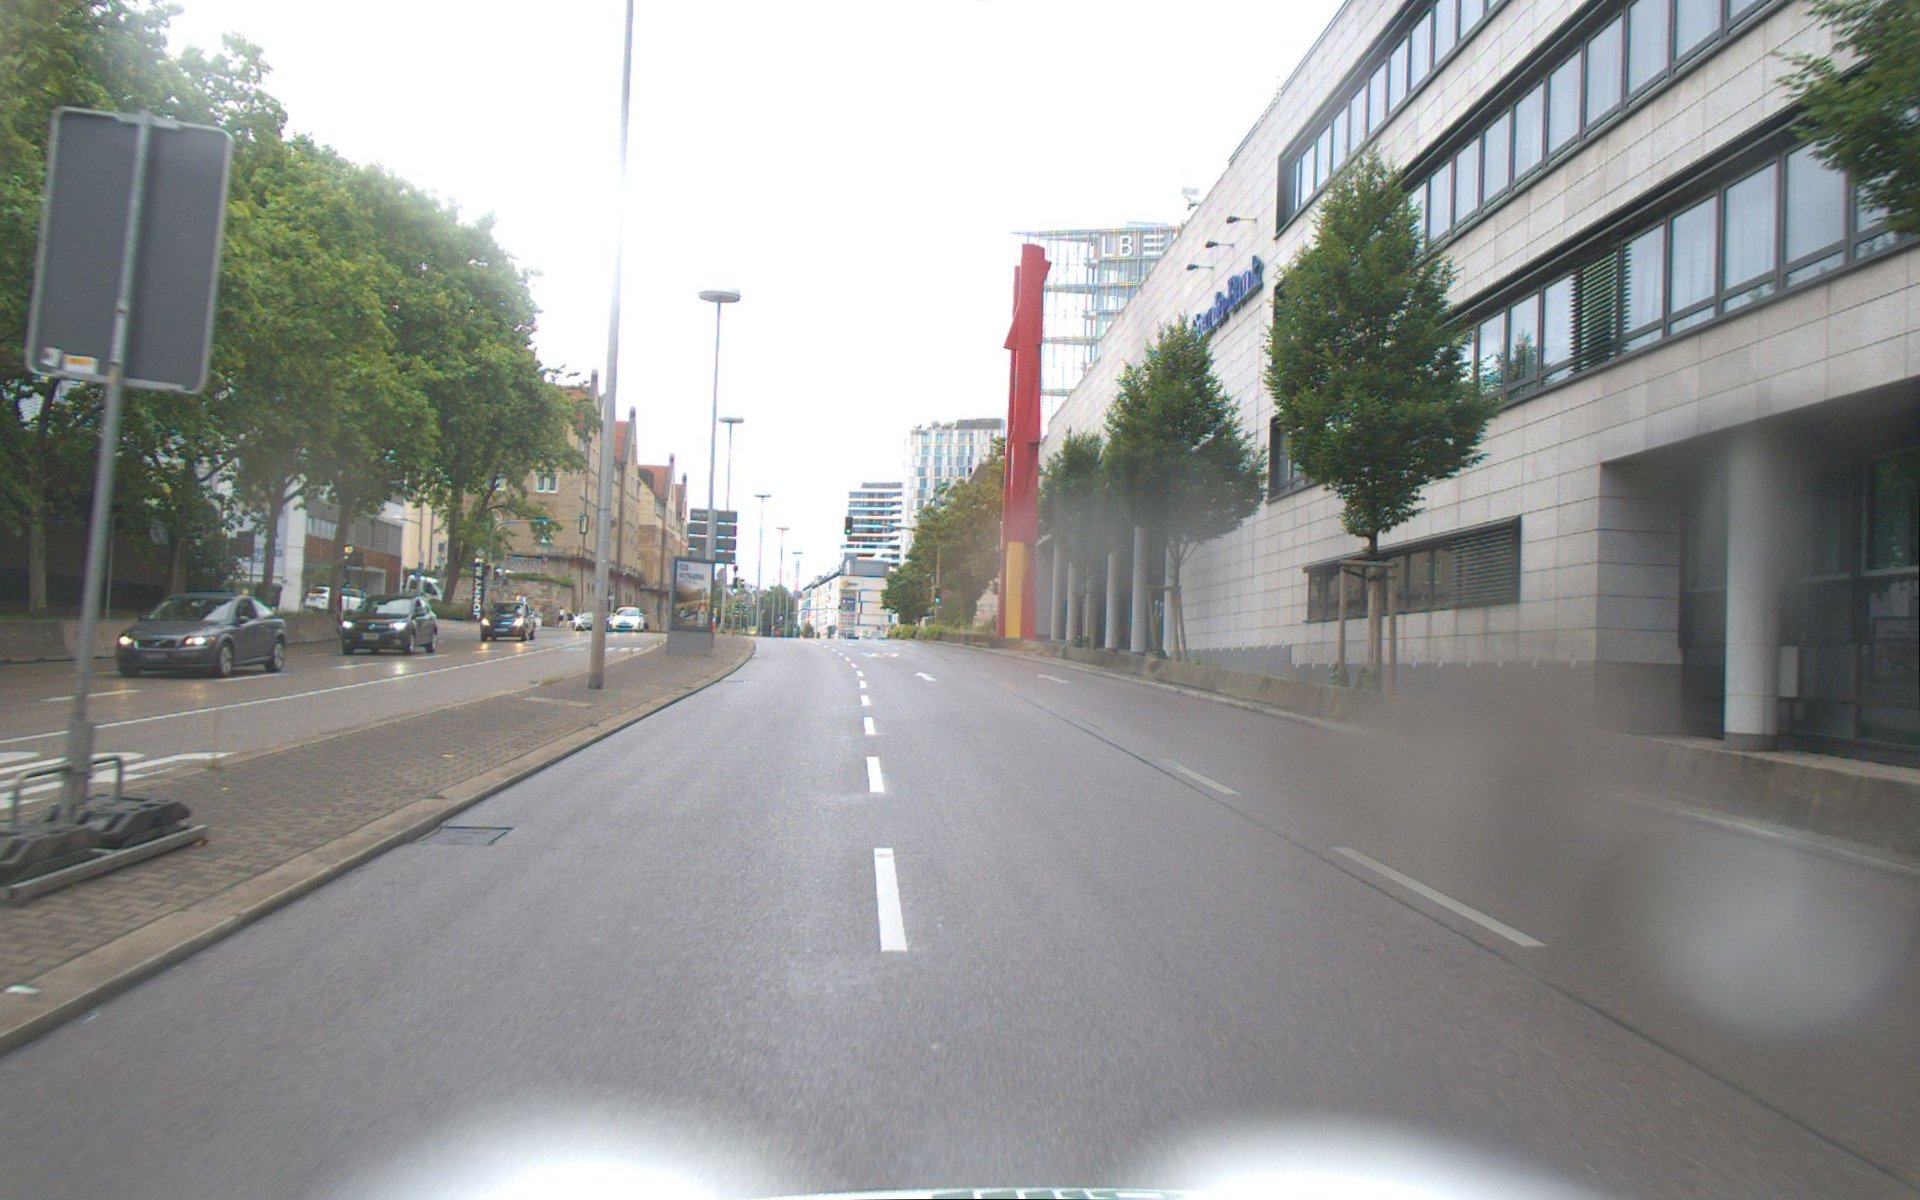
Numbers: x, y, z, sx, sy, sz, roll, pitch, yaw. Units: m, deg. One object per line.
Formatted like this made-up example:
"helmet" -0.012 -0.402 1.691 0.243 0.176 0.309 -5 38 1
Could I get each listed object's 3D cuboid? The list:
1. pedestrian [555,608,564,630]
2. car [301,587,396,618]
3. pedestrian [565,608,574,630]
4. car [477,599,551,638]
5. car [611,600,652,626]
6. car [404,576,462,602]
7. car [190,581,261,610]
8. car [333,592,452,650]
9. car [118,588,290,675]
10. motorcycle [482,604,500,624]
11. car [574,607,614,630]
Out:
"pedestrian" -30.115 1.430 124.442 0.488 1.639 0.500 2 -2 -1
"car" -32.447 0.135 87.909 1.788 1.537 4.563 -1 -2 34
"pedestrian" -29.366 1.458 124.454 0.488 1.639 0.500 2 -2 -1
"car" -16.842 0.733 62.597 1.782 1.428 3.998 0 -1 -2
"car" -19.636 0.798 99.019 1.782 1.494 3.998 0 -1 -2
"car" -36.535 -0.735 114.743 3.559 1.730 1.822 0 -2 -7
"car" -38.187 -0.214 86.018 1.255 1.451 3.172 -1 -2 41
"car" -14.641 0.577 42.882 1.782 1.428 3.998 0 -1 -2
"car" -13.407 0.540 29.577 1.654 1.434 3.993 1 0 -7
"motorcycle" -31.060 0.904 109.555 0.766 1.279 2.989 2 0 -10
"car" -23.194 1.168 104.928 1.782 1.409 3.998 0 -1 -2
